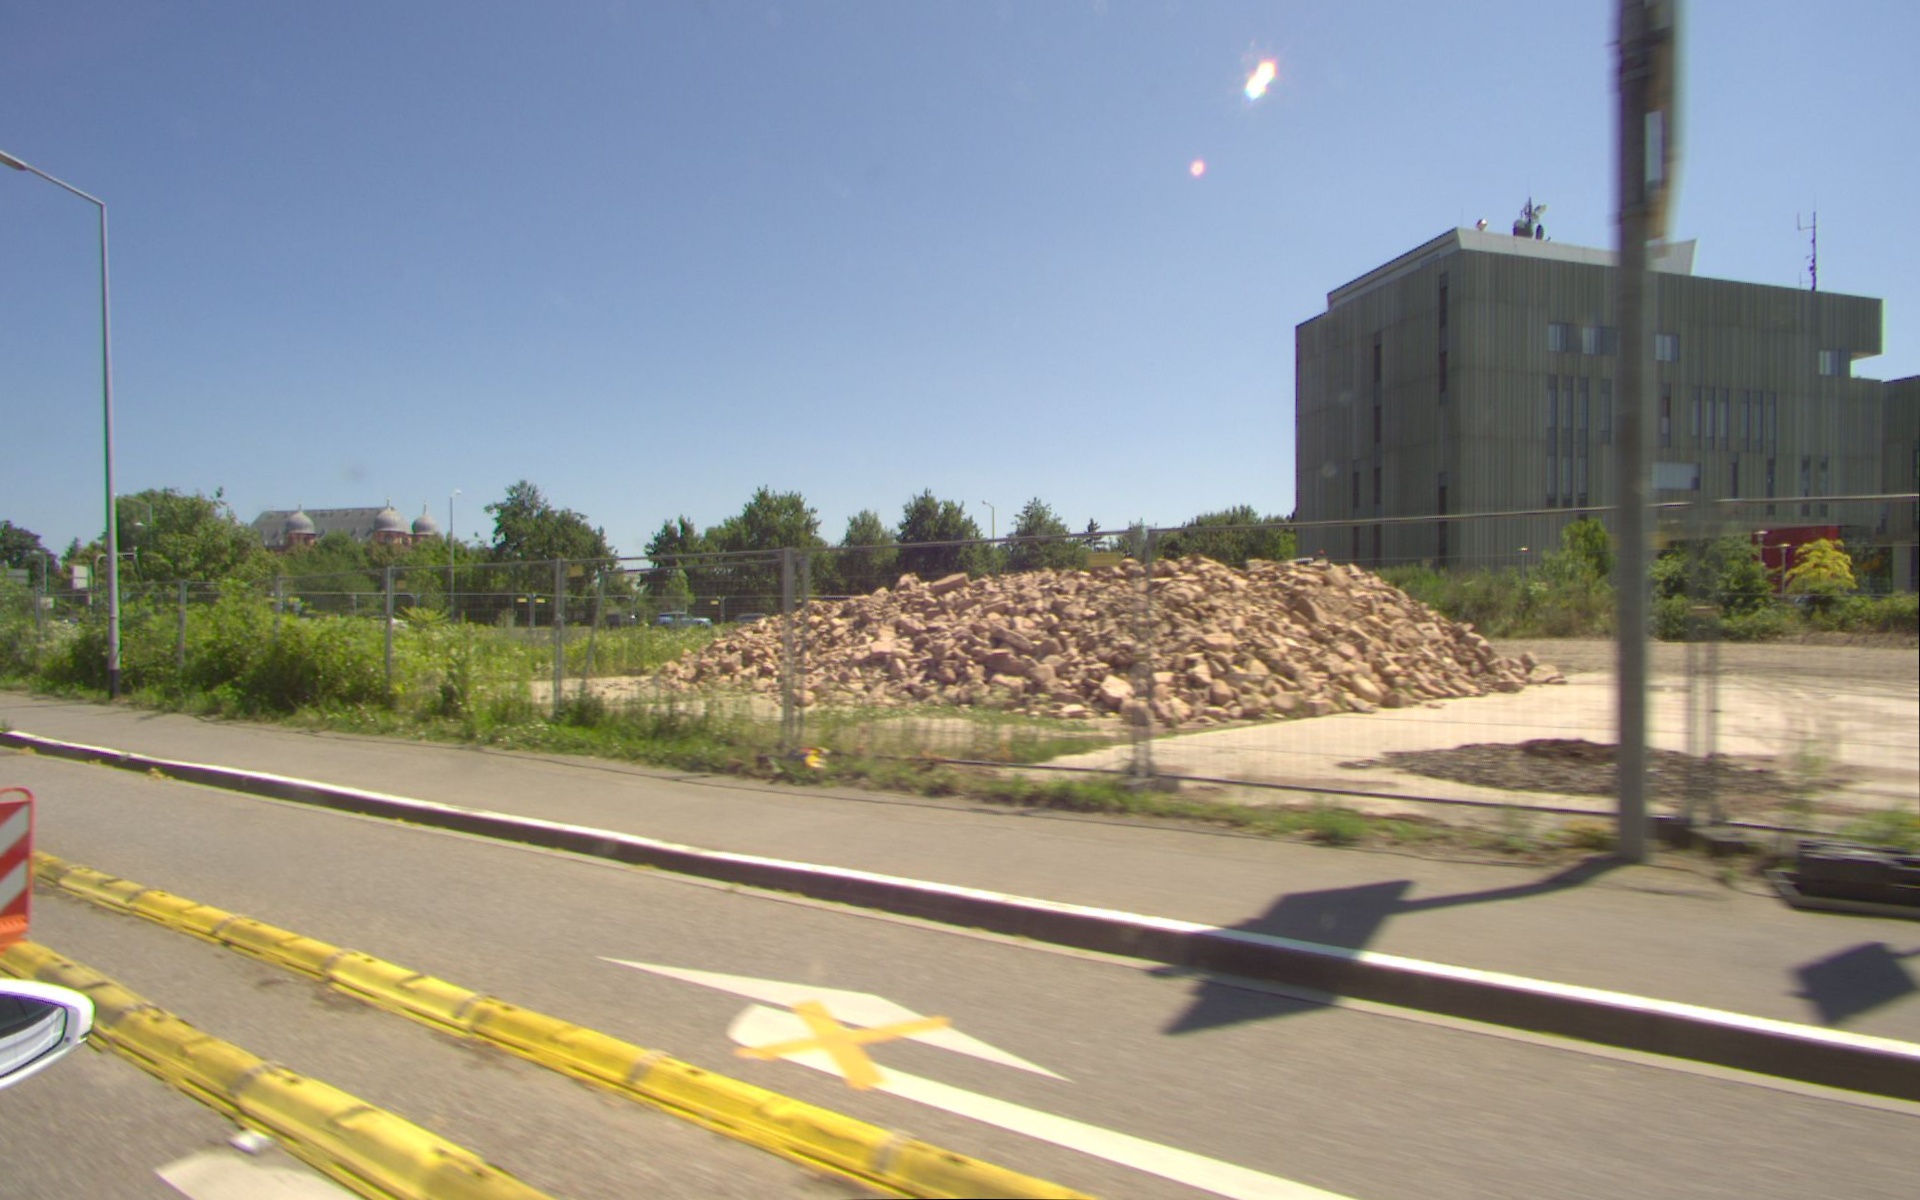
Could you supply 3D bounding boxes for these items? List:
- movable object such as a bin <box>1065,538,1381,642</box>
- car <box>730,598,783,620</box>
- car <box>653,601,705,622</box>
[{"bbox_3d":[9.557,-0.318,36.704,10.313,3.303,4.931,0,0,31],"label":"movable object such as a bin"},{"bbox_3d":[-15.753,0.700,77.653,3.984,1.640,1.840,0,1,-12],"label":"car"},{"bbox_3d":[-22.320,0.884,79.672,3.926,1.606,1.881,0,1,-12],"label":"car"}]
